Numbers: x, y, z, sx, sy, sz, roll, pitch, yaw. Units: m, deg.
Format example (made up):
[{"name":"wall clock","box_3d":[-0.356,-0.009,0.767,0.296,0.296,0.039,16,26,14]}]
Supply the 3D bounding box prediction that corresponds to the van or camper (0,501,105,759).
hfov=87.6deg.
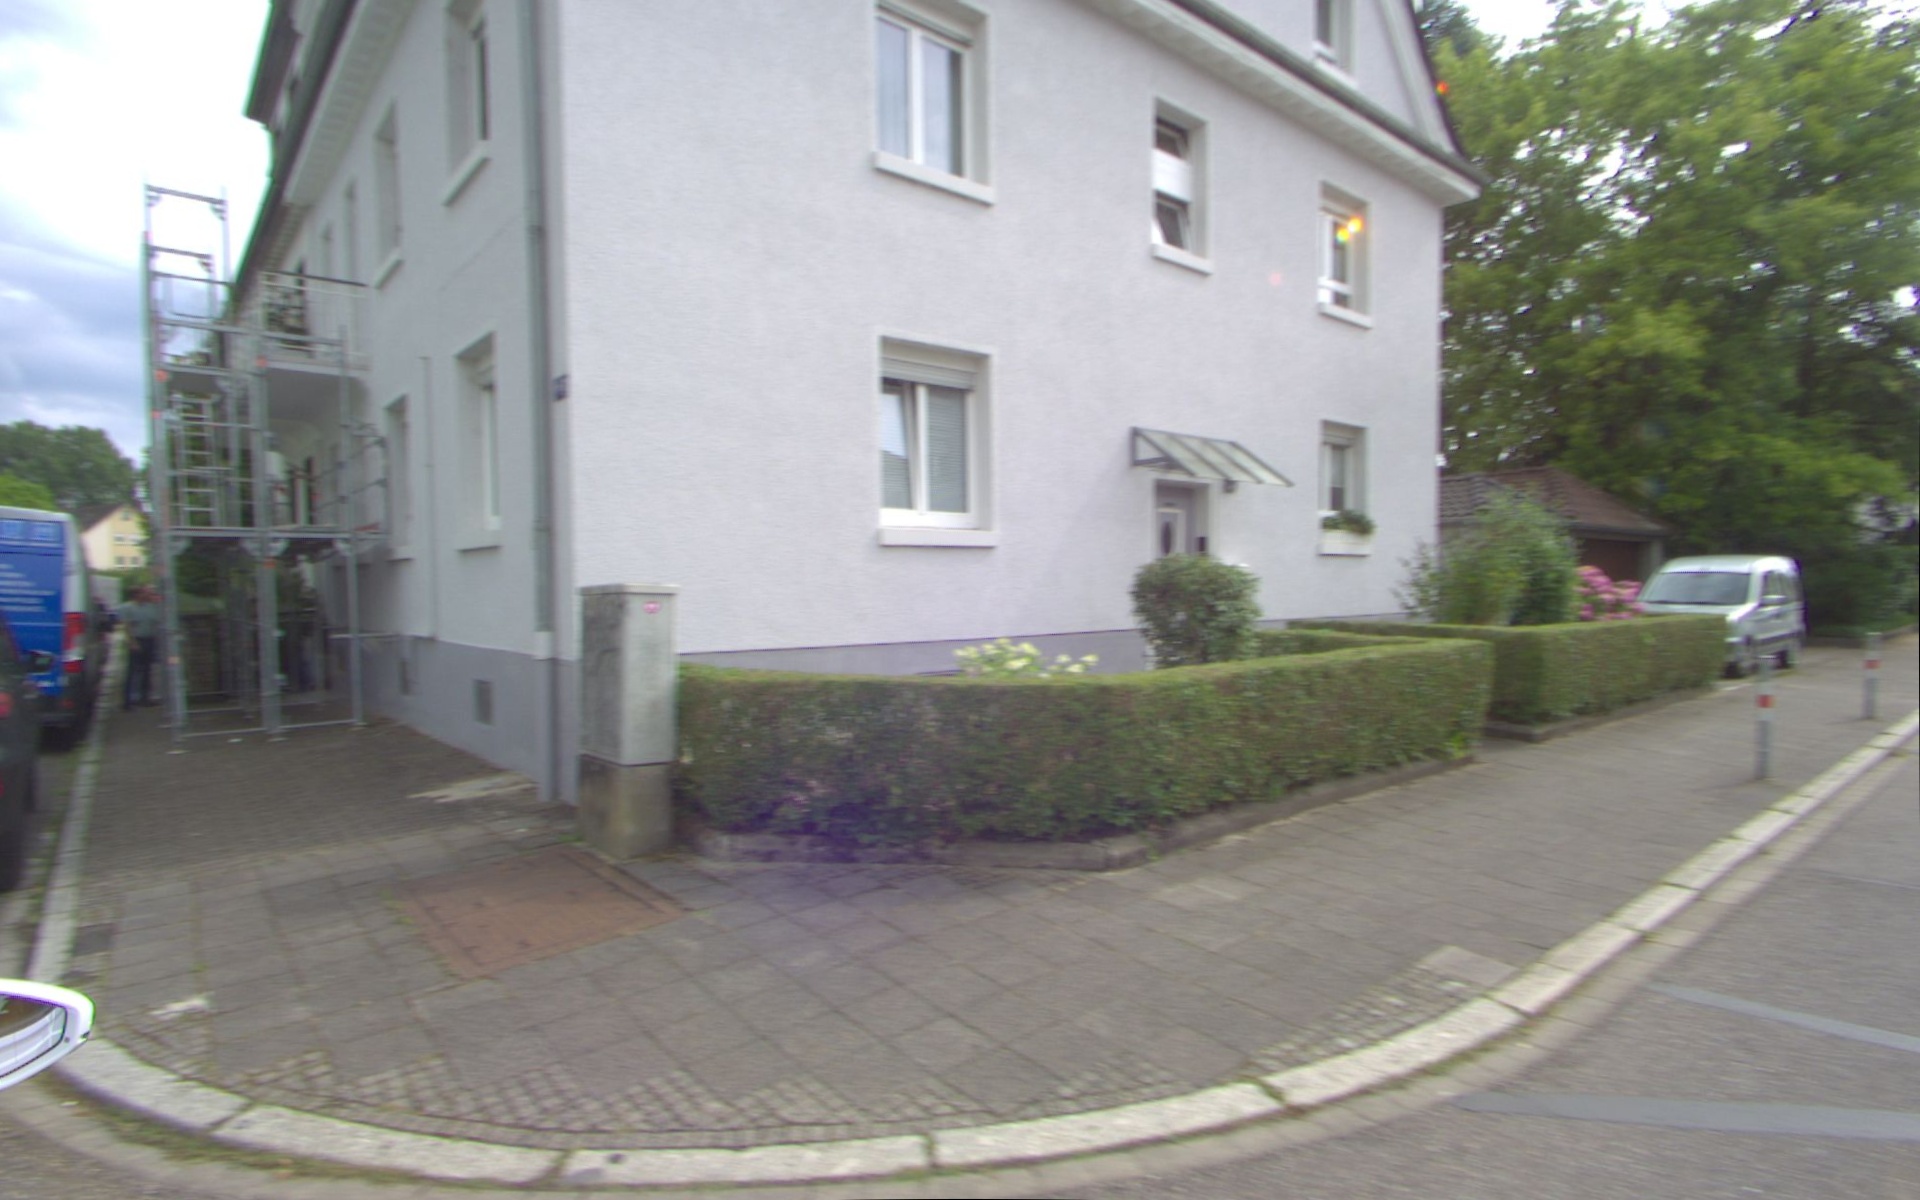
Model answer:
[{"name":"van or camper","box_3d":[-11.148,0.282,11.299,2.174,2.492,5.010,-2,2,-40]}]

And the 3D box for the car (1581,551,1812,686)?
[{"name":"car","box_3d":[11.705,0.211,15.845,3.952,1.863,1.984,-1,2,-39]}]

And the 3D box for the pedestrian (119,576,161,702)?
[{"name":"pedestrian","box_3d":[-11.846,0.556,14.462,0.404,1.786,0.508,-2,1,-41]}]

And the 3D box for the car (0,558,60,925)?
[{"name":"car","box_3d":[-6.596,0.679,5.813,1.979,1.750,4.301,-2,2,-42]}]

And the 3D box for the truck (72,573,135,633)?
[{"name":"truck","box_3d":[-40.285,0.104,47.067,2.114,2.693,4.542,-2,2,-42]}]

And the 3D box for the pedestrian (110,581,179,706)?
[{"name":"pedestrian","box_3d":[-11.103,0.579,13.642,0.597,1.651,0.619,-1,1,44]}]
